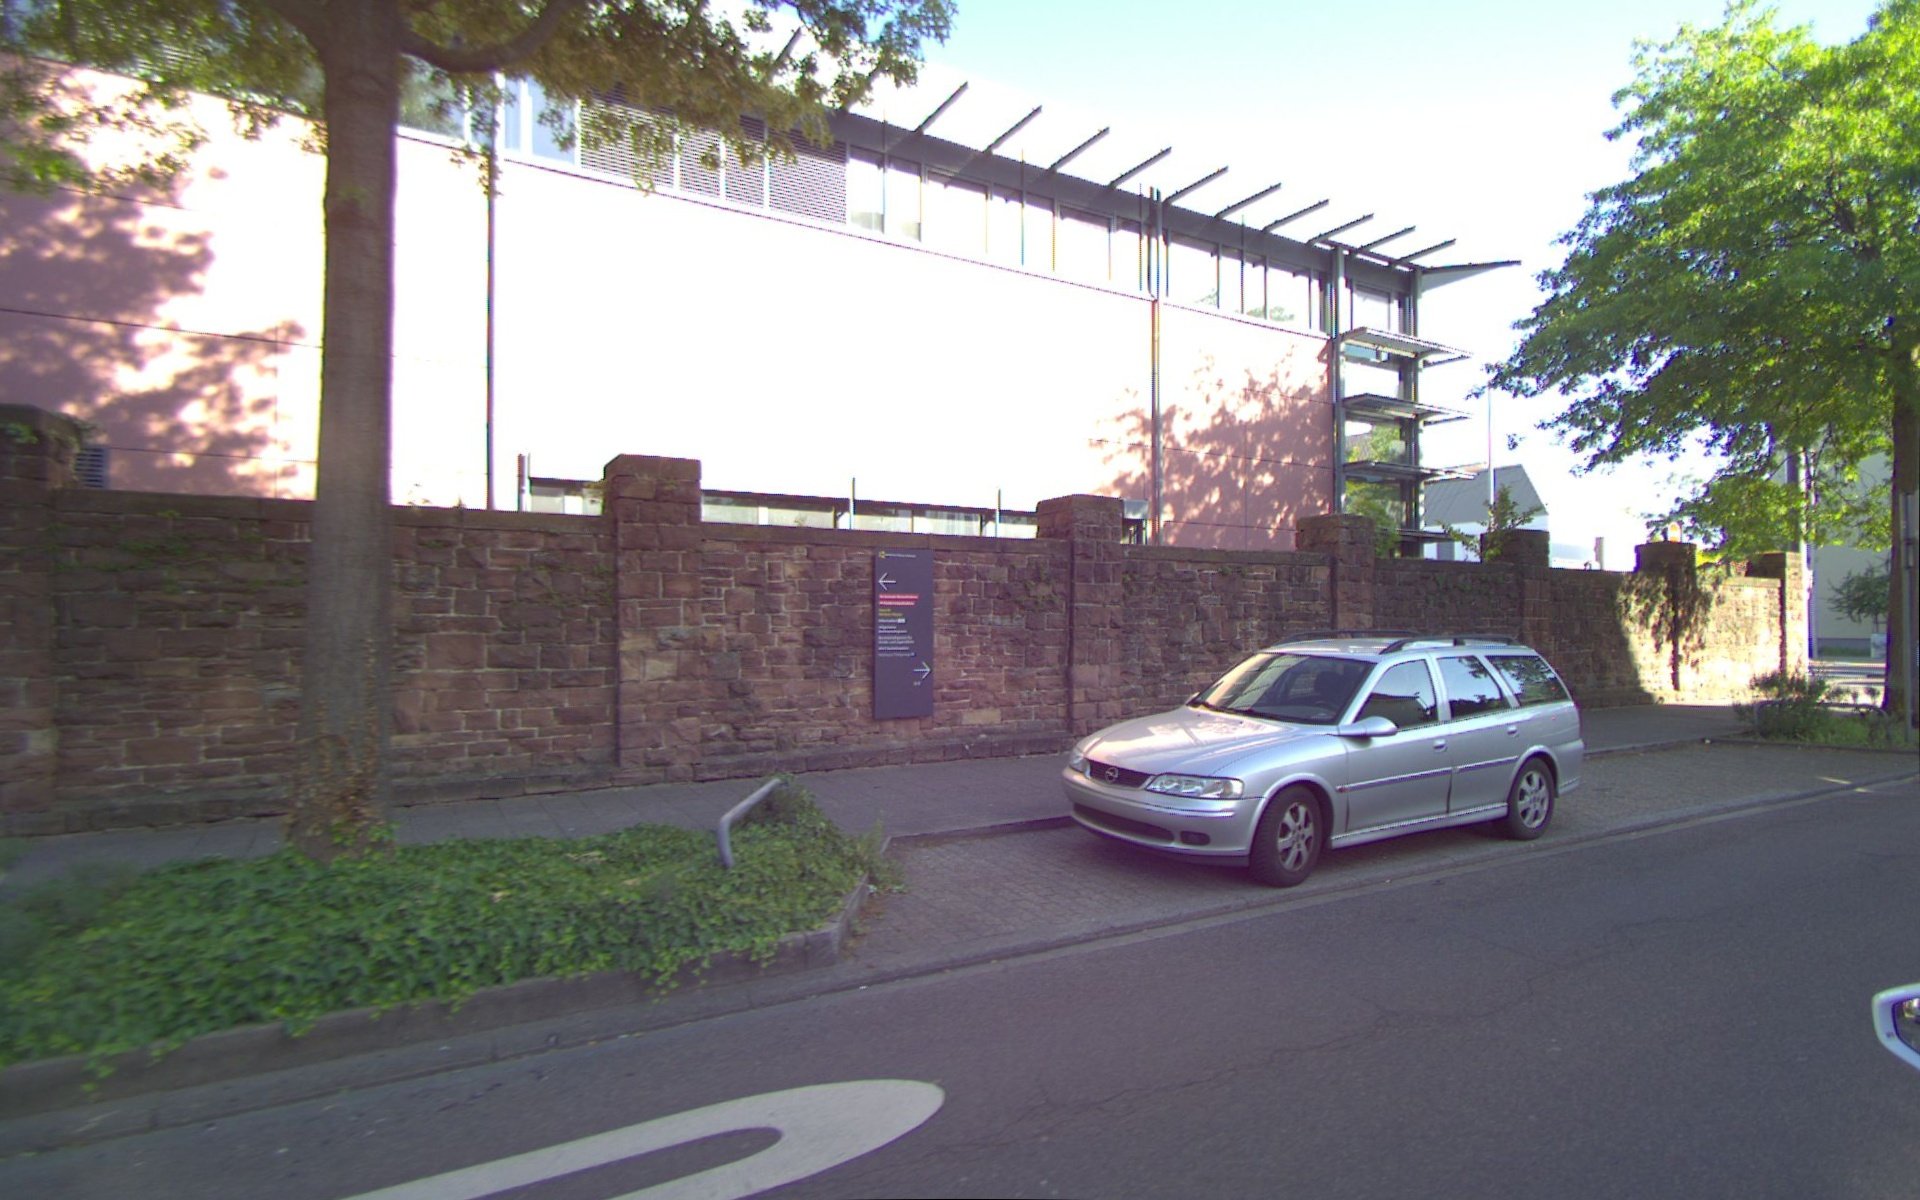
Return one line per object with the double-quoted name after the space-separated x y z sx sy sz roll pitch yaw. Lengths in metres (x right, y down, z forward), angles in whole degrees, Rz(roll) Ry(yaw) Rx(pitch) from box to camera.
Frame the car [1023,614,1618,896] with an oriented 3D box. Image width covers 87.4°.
2.776 0.898 7.405 4.427 1.495 1.717 1 1 -31 "car"
